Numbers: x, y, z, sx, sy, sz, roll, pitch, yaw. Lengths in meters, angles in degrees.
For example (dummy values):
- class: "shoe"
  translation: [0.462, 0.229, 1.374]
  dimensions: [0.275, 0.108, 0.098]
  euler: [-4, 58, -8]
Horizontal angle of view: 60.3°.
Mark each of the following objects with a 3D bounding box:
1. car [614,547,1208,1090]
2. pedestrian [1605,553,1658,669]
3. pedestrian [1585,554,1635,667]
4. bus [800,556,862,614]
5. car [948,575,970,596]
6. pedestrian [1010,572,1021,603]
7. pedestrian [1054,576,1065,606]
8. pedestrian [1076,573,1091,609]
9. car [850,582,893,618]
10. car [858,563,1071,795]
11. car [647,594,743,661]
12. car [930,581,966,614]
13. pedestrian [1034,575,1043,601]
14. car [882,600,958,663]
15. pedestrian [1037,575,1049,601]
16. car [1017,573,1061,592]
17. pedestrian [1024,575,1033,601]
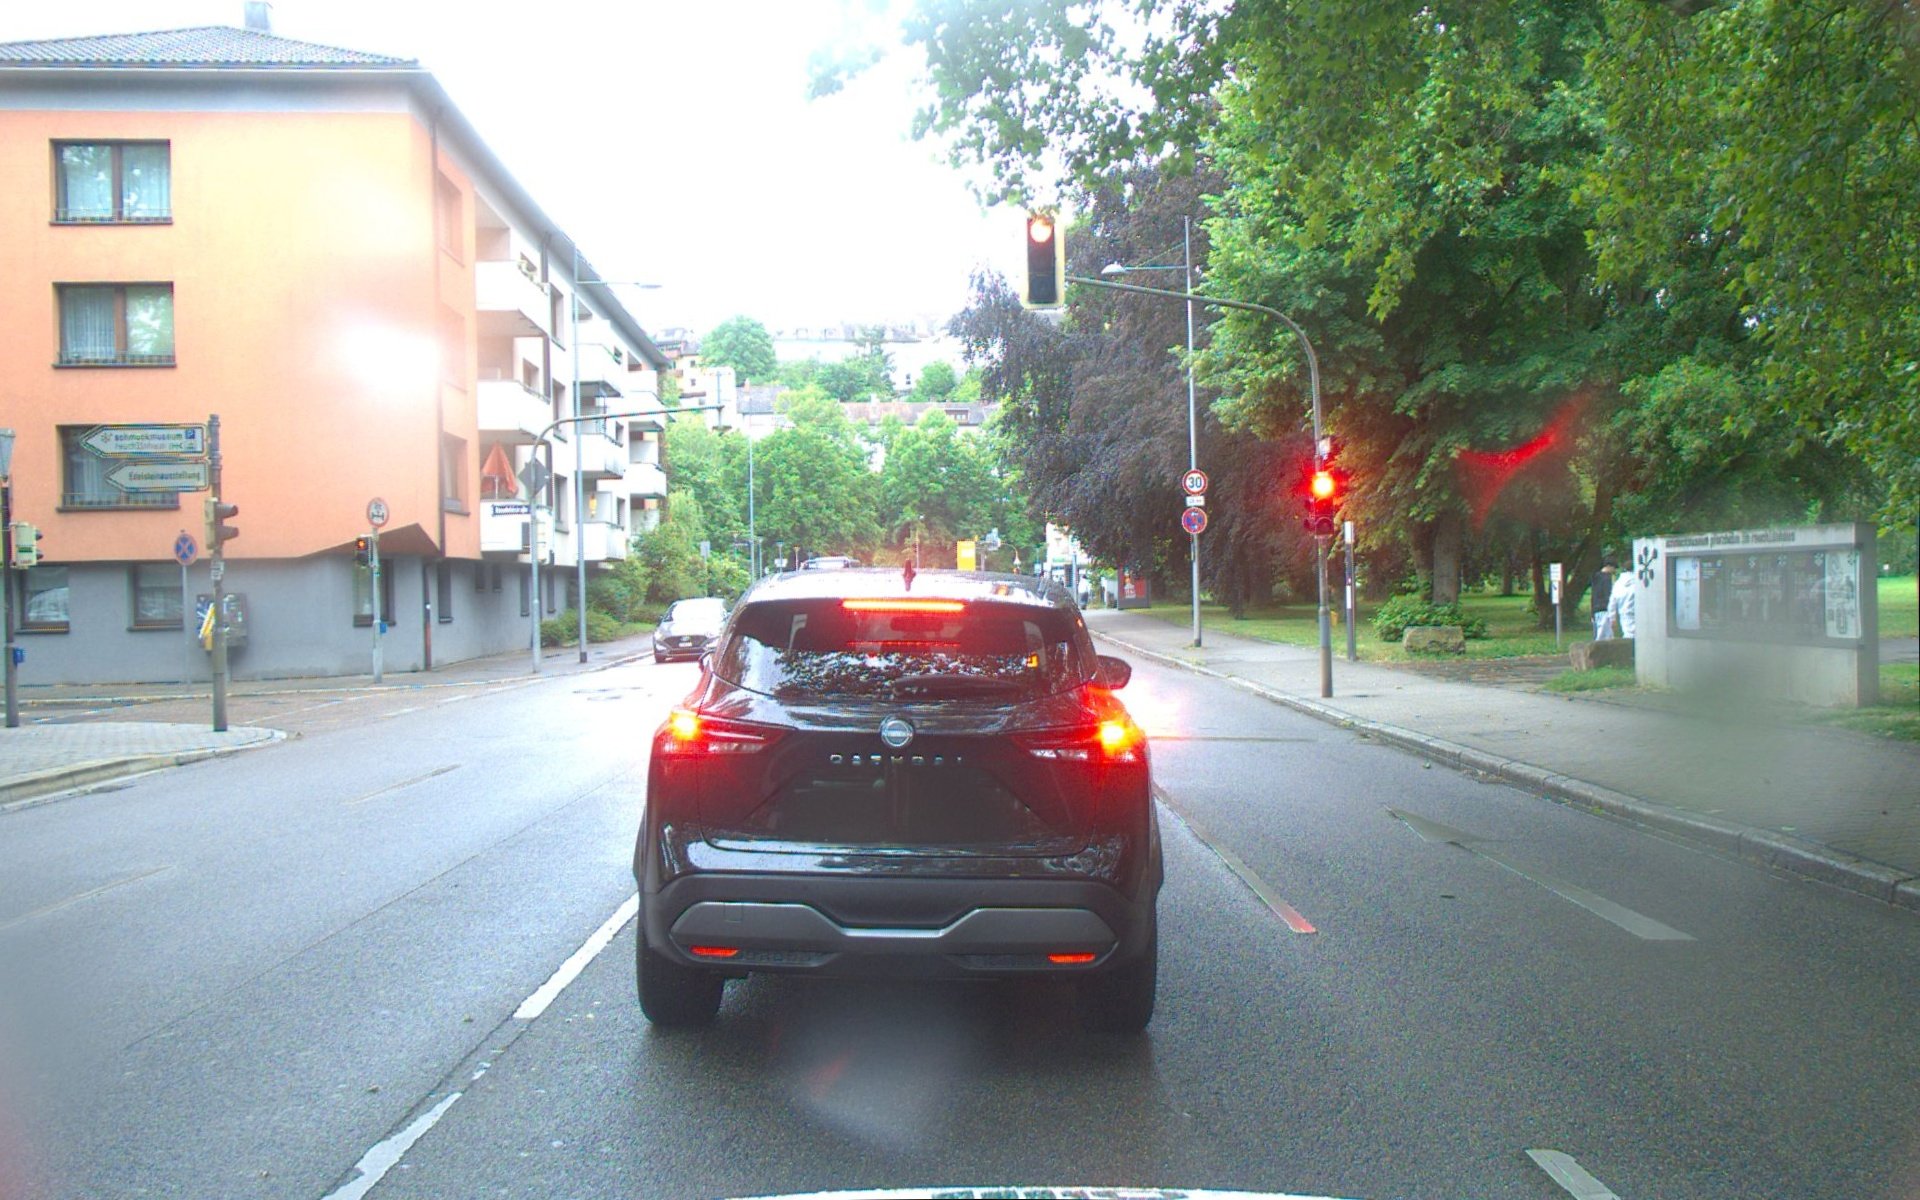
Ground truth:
- class: "car"
  translation: [-0.173, 0.671, 7.001]
  dimensions: [1.769, 1.618, 3.999]
  euler: [1, 0, -1]
- class: "pedestrian"
  translation: [10.365, 0.163, 25.541]
  dimensions: [0.493, 1.751, 0.559]
  euler: [-2, 0, -7]
- class: "pedestrian"
  translation: [10.267, 0.164, 26.148]
  dimensions: [0.475, 1.751, 0.559]
  euler: [-2, 0, -7]
- class: "bus"
  translation: [-7.260, -0.823, 94.413]
  dimensions: [2.710, 3.026, 11.779]
  euler: [-1, 0, -1]
- class: "car"
  translation: [-0.074, -1.166, 136.344]
  dimensions: [1.714, 1.662, 3.634]
  euler: [-2, 1, 0]
- class: "pedestrian"
  translation: [4.041, -0.928, 119.674]
  dimensions: [0.752, 2.222, 0.711]
  euler: [1, -1, 2]
- class: "pedestrian"
  translation: [6.197, -0.560, 102.992]
  dimensions: [0.606, 1.810, 0.550]
  euler: [-2, 0, -1]
- class: "pedestrian"
  translation: [6.229, -0.460, 83.258]
  dimensions: [0.606, 1.810, 0.778]
  euler: [-2, 0, -1]
- class: "car"
  translation: [-3.757, -0.008, 70.615]
  dimensions: [1.591, 1.439, 3.454]
  euler: [-2, 0, 0]
- class: "car"
  translation: [0.062, 0.598, 14.669]
  dimensions: [1.588, 1.738, 3.771]
  euler: [-2, 0, 1]
- class: "car"
  translation: [-6.477, 0.637, 40.829]
  dimensions: [1.772, 1.441, 4.029]
  euler: [-3, 1, -2]
- class: "car"
  translation: [-0.546, -0.108, 76.405]
  dimensions: [1.591, 1.439, 3.454]
  euler: [-2, 0, 0]
- class: "pedestrian"
  translation: [5.104, -0.763, 107.799]
  dimensions: [0.504, 1.684, 0.550]
  euler: [1, -1, -1]
- class: "car"
  translation: [-1.010, 0.747, 41.099]
  dimensions: [1.772, 1.442, 4.029]
  euler: [0, 0, -2]
- class: "pedestrian"
  translation: [5.471, -0.779, 109.031]
  dimensions: [0.685, 1.680, 0.628]
  euler: [1, -1, 0]
- class: "car"
  translation: [7.820, -1.735, 163.802]
  dimensions: [3.916, 1.713, 1.995]
  euler: [-2, 0, -11]
- class: "pedestrian"
  translation: [4.517, -0.777, 108.911]
  dimensions: [0.533, 1.680, 0.490]
  euler: [1, -1, 0]
